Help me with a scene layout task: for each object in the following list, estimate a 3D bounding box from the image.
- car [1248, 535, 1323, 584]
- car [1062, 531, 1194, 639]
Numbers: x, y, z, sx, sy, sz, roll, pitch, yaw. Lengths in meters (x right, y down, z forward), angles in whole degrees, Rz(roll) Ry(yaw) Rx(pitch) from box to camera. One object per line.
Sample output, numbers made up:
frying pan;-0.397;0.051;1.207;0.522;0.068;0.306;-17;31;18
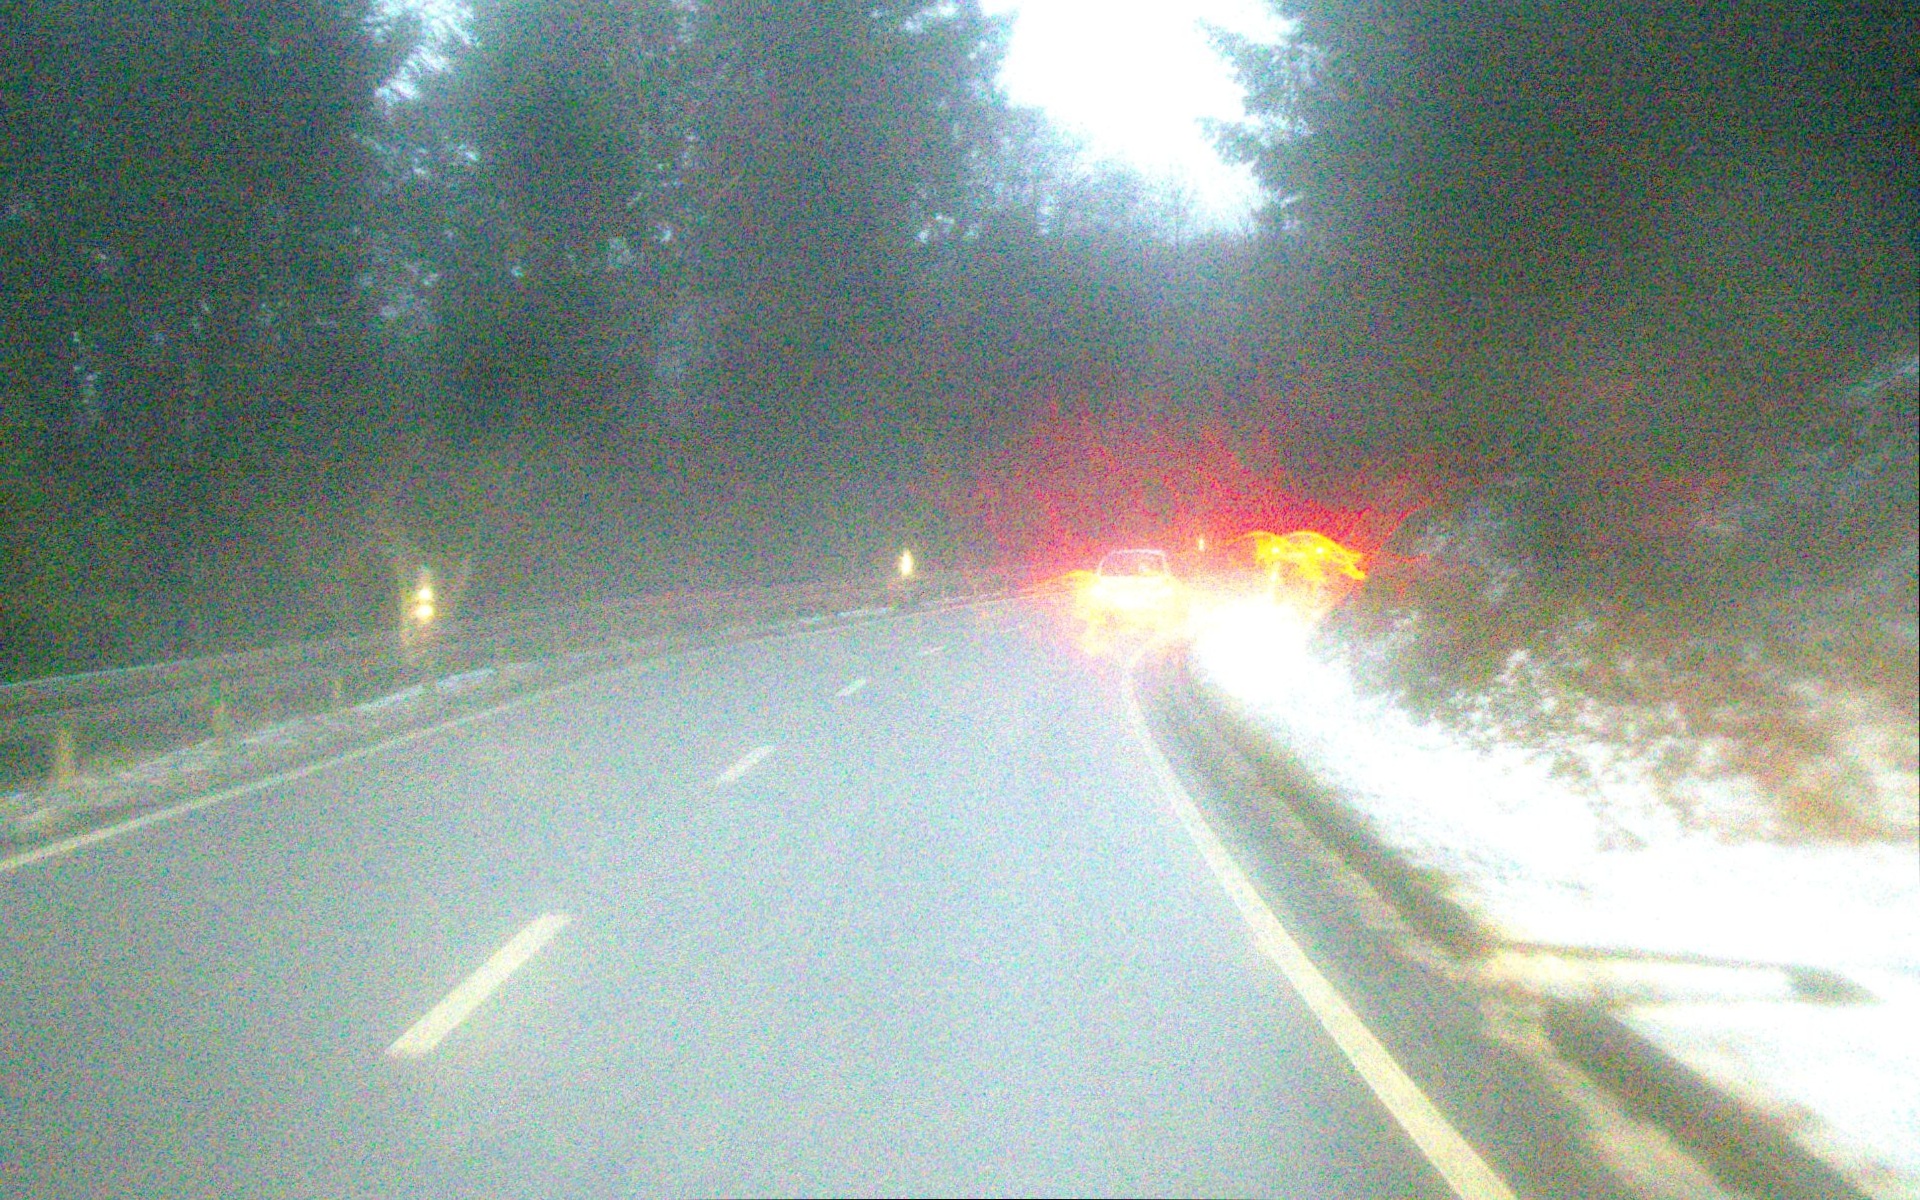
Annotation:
car;9.529;-1.206;100.319;1.994;1.305;3.999;-2;1;7
car;3.187;-0.314;64.446;1.994;1.866;3.999;-2;1;9
